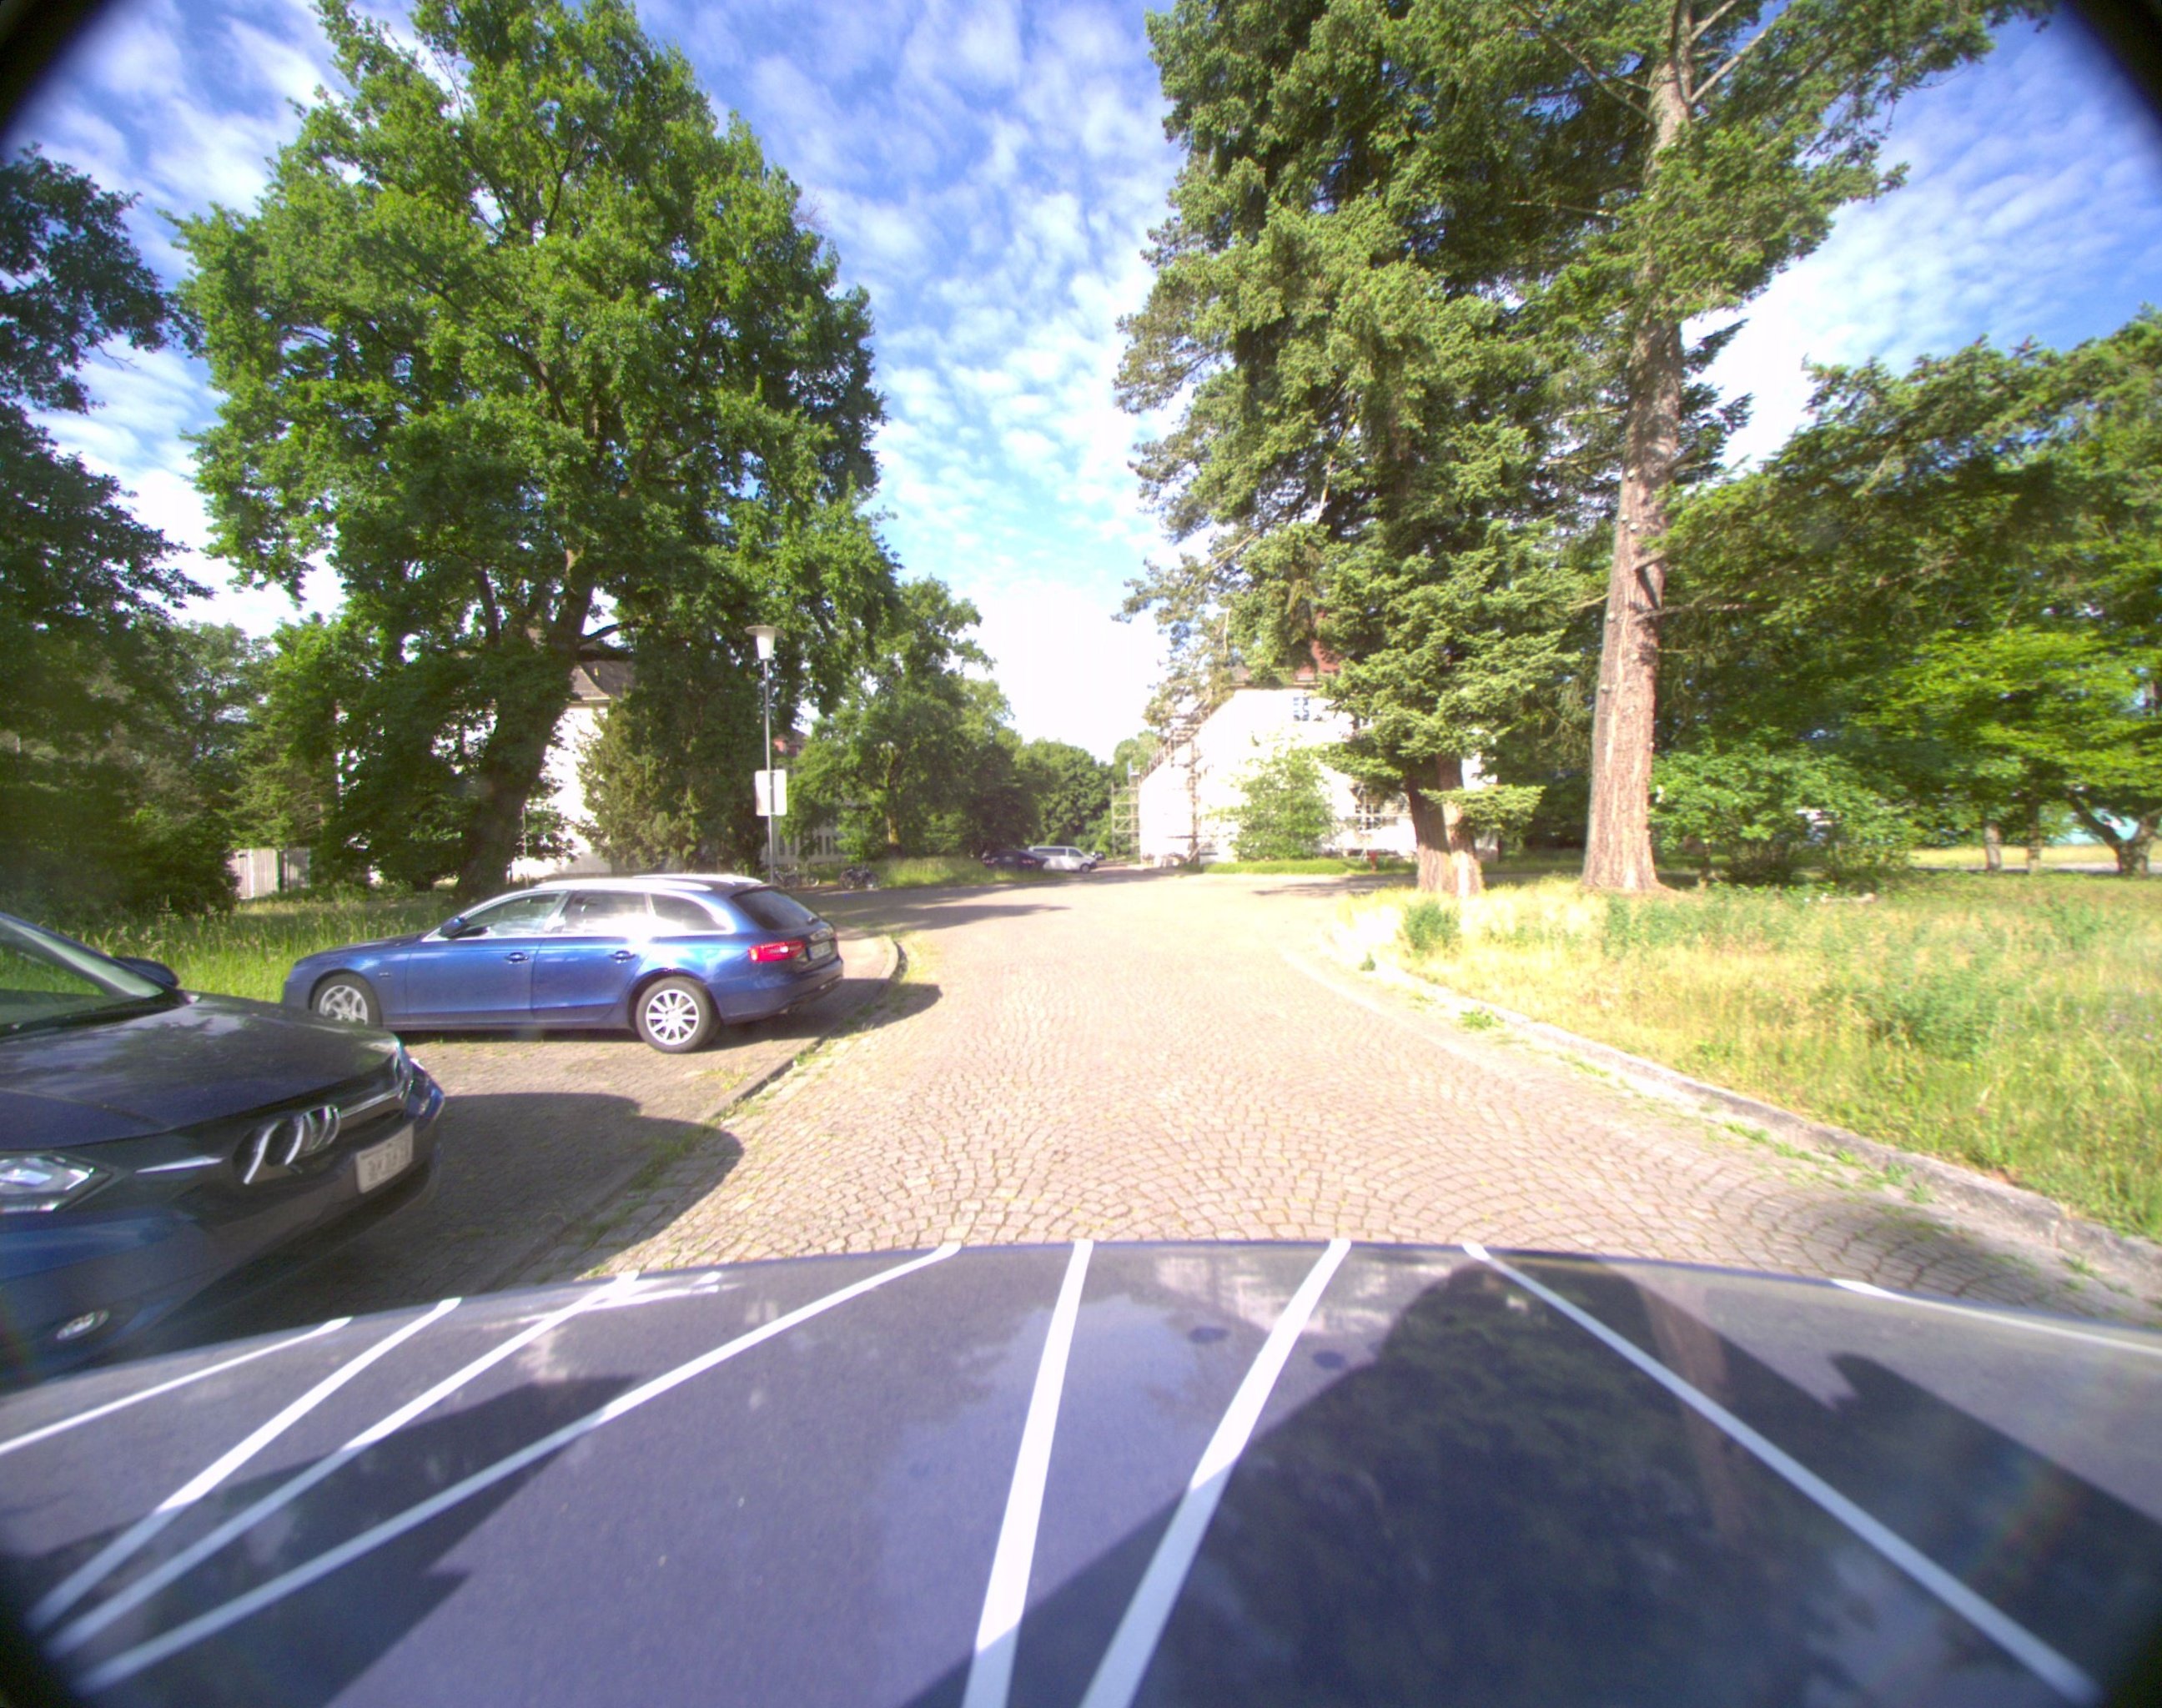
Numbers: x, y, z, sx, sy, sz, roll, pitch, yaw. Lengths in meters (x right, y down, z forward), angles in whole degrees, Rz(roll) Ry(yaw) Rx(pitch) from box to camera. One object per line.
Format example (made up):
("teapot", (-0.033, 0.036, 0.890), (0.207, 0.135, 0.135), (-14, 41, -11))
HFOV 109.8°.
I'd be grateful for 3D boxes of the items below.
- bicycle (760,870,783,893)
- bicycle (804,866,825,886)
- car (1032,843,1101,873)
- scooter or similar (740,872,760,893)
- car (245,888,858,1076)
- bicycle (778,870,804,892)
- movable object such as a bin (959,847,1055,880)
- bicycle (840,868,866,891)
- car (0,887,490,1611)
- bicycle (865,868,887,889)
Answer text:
("bicycle", (-14.544, 1.284, 35.731), (0.619, 1.010, 1.027), (-1, 1, 2))
("bicycle", (-14.125, 1.154, 40.230), (0.712, 1.010, 1.024), (-2, 1, -38))
("car", (-1.065, 0.285, 55.869), (4.937, 2.002, 2.000), (-1, 1, -1))
("scooter or similar", (-15.236, 1.310, 34.940), (0.770, 0.924, 0.261), (-1, 1, -7))
("car", (-4.541, 1.058, 6.974), (4.460, 1.400, 1.714), (0, 1, 2))
("bicycle", (-13.786, 1.267, 36.115), (0.710, 1.010, 1.028), (-1, 1, 7))
("movable object such as a bin", (-4.150, 0.533, 42.844), (4.931, 1.749, 2.002), (-1, 1, 14))
("bicycle", (-10.632, 1.178, 35.488), (0.710, 1.010, 1.256), (-1, 1, 7))
("car", (-4.589, 0.985, 2.270), (4.188, 1.582, 1.751), (-1, 1, -1))
("bicycle", (-9.677, 1.169, 35.906), (0.747, 0.929, 1.140), (-1, 1, -4))
